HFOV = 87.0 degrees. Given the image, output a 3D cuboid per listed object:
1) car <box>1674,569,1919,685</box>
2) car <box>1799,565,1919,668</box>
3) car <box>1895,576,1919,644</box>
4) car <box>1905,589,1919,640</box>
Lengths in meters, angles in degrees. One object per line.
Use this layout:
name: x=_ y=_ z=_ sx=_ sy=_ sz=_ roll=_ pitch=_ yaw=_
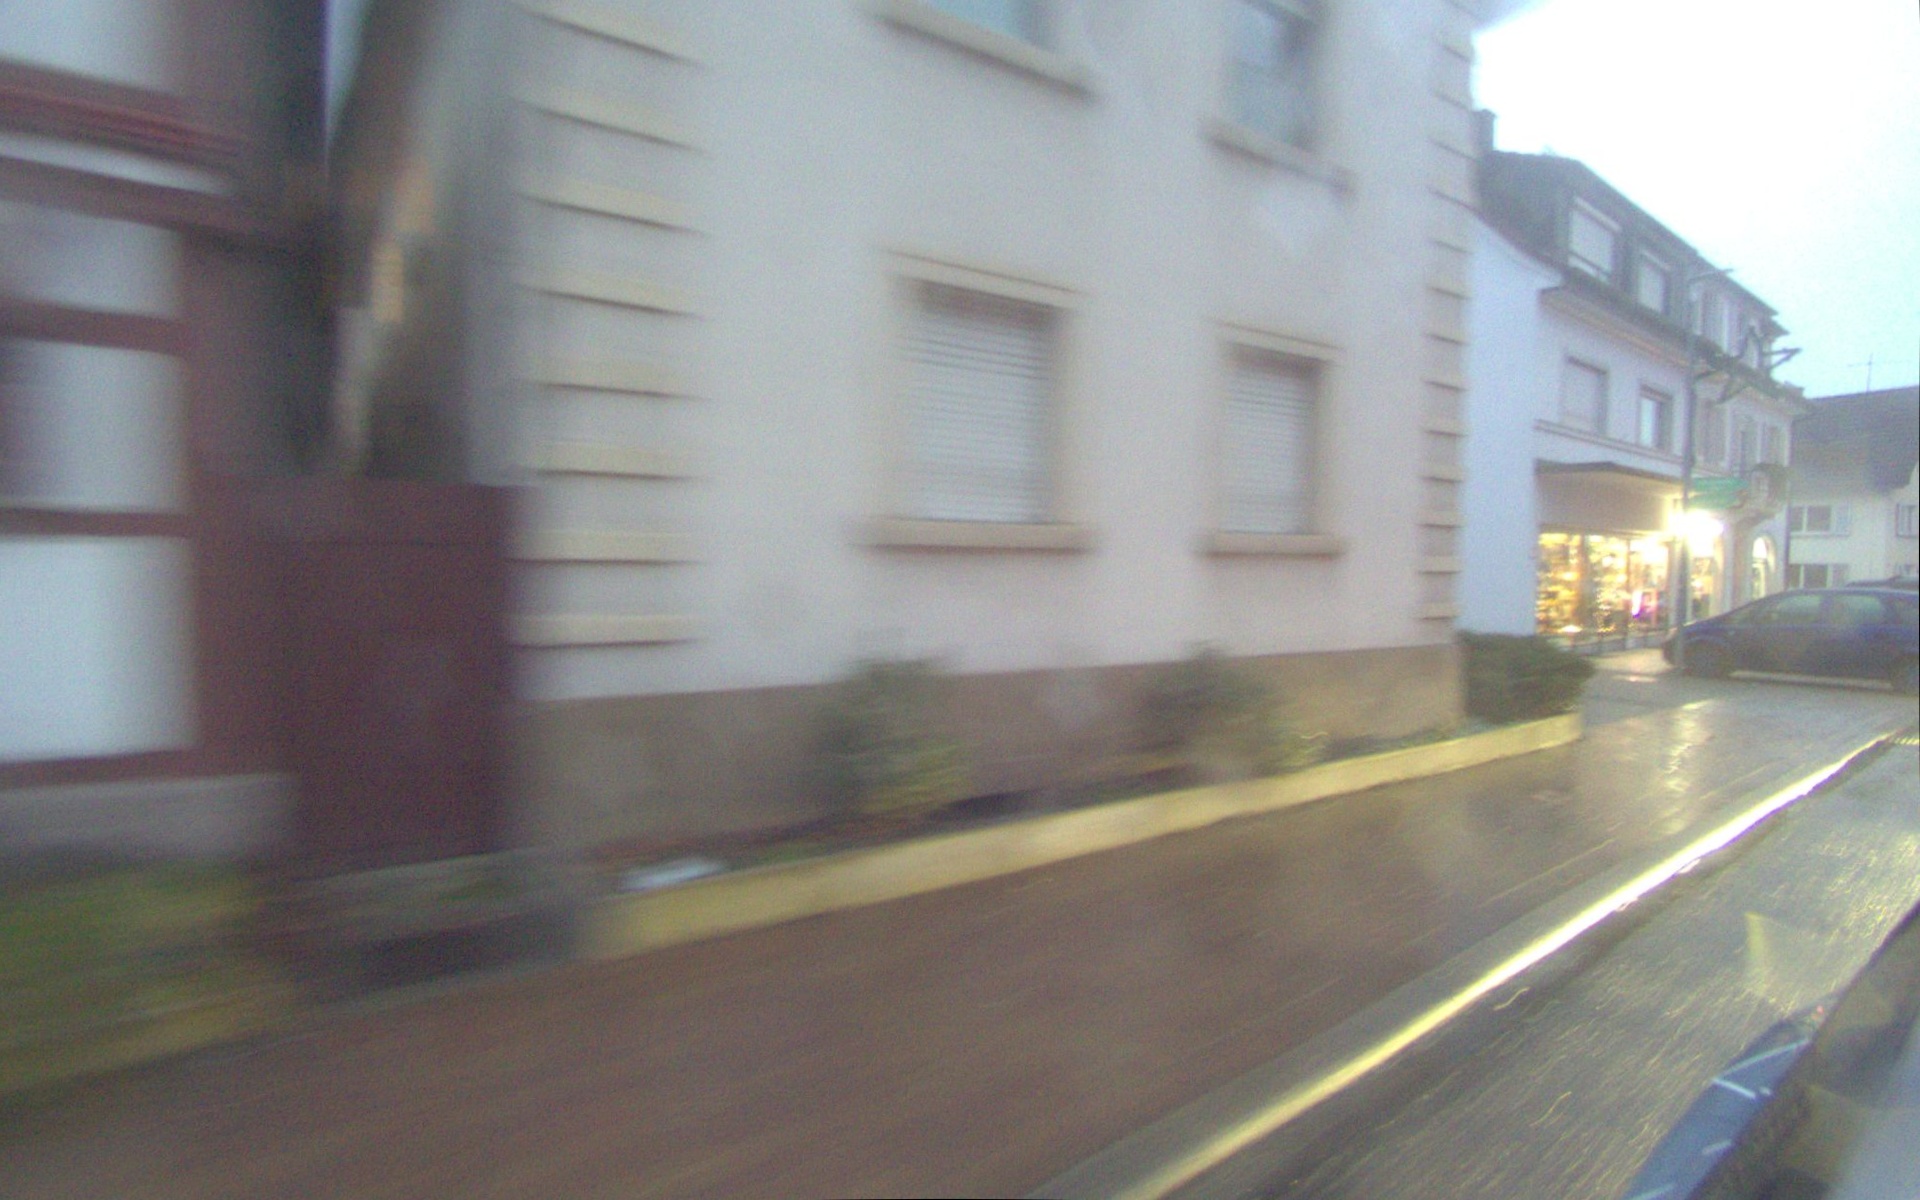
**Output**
car: x=14.254 y=0.392 z=16.611 sx=1.584 sy=1.647 sz=3.847 roll=0 pitch=3 yaw=-43
car: x=18.788 y=0.333 z=19.444 sx=1.838 sy=1.900 sz=3.882 roll=0 pitch=2 yaw=-44
car: x=26.311 y=0.332 z=25.430 sx=1.683 sy=1.753 sz=3.888 roll=0 pitch=2 yaw=-39
car: x=28.024 y=0.480 z=26.999 sx=1.523 sy=1.383 sz=3.888 roll=0 pitch=2 yaw=-39
